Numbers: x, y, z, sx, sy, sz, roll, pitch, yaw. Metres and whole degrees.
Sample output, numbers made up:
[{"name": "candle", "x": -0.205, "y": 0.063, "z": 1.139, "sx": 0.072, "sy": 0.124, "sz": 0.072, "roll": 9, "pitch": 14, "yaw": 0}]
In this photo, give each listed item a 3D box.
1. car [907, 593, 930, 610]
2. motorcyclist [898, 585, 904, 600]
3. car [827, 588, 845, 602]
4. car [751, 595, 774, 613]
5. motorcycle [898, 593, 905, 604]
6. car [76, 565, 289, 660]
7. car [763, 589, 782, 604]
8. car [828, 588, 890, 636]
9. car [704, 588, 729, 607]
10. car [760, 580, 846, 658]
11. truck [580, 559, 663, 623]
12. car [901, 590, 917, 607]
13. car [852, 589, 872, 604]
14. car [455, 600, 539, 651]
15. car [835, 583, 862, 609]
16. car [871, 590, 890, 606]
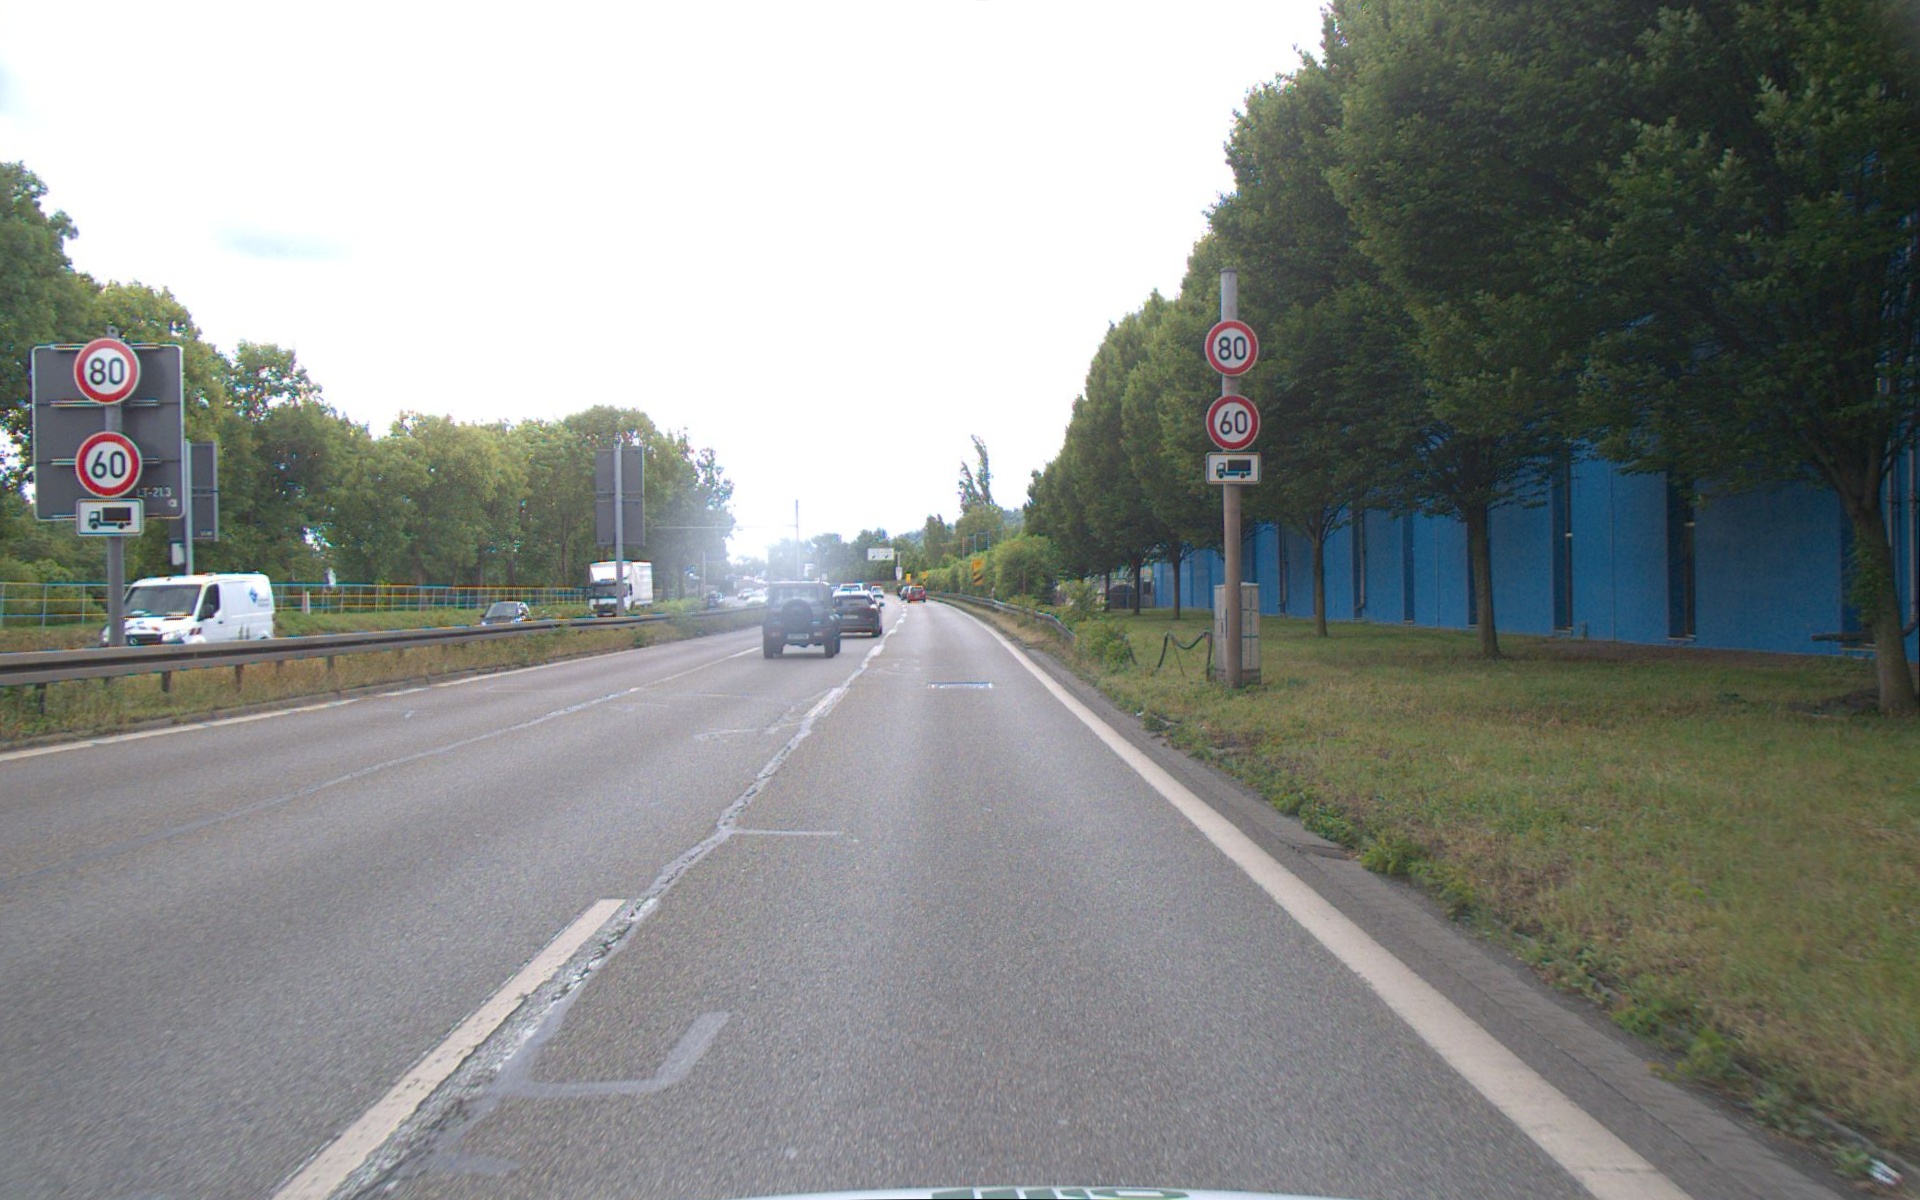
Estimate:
[{"name": "car", "x": -3.943, "y": 0.116, "z": 155.783, "sx": 1.935, "sy": 1.448, "sz": 4.896, "roll": -2, "pitch": 0, "yaw": -4}, {"name": "motorcyclist", "x": -7.199, "y": -0.888, "z": 202.320, "sx": 0.775, "sy": 1.791, "sz": 0.922, "roll": -1, "pitch": 0, "yaw": -3}, {"name": "car", "x": -18.212, "y": -0.689, "z": 243.445, "sx": 1.978, "sy": 1.968, "sz": 4.887, "roll": -2, "pitch": 0, "yaw": -11}, {"name": "car", "x": -19.244, "y": 0.381, "z": 161.062, "sx": 1.663, "sy": 1.633, "sz": 4.537, "roll": -3, "pitch": 0, "yaw": -1}, {"name": "motorcycle", "x": -7.198, "y": -0.186, "z": 202.323, "sx": 0.775, "sy": 1.240, "sz": 2.328, "roll": -1, "pitch": 1, "yaw": -3}, {"name": "car", "x": -17.758, "y": 0.255, "z": 38.158, "sx": 2.180, "sy": 1.982, "sz": 5.475, "roll": -1, "pitch": 0, "yaw": 1}, {"name": "car", "x": -22.937, "y": -0.475, "z": 202.419, "sx": 1.829, "sy": 1.704, "sz": 4.717, "roll": -2, "pitch": 0, "yaw": -2}, {"name": "car", "x": -3.190, "y": 0.362, "z": 52.921, "sx": 1.808, "sy": 1.448, "sz": 4.898, "roll": -1, "pitch": 0, "yaw": -2}, {"name": "car", "x": -22.660, "y": -0.271, "z": 153.880, "sx": 1.691, "sy": 1.633, "sz": 4.041, "roll": -3, "pitch": 0, "yaw": -1}, {"name": "car", "x": -3.597, "y": 0.395, "z": 38.442, "sx": 1.663, "sy": 1.715, "sz": 3.999, "roll": -1, "pitch": 1, "yaw": -1}, {"name": "truck", "x": -20.687, "y": -0.542, "z": 101.526, "sx": 2.829, "sy": 3.641, "sz": 9.588, "roll": -2, "pitch": 0, "yaw": 1}, {"name": "car", "x": -5.433, "y": -0.187, "z": 177.142, "sx": 1.663, "sy": 1.772, "sz": 4.391, "roll": -1, "pitch": 0, "yaw": -2}, {"name": "car", "x": -13.532, "y": -0.438, "z": 227.433, "sx": 1.979, "sy": 1.968, "sz": 4.884, "roll": -2, "pitch": 0, "yaw": -13}, {"name": "car", "x": -17.056, "y": 0.899, "z": 61.137, "sx": 1.840, "sy": 1.755, "sz": 4.147, "roll": -1, "pitch": 1, "yaw": 1}, {"name": "car", "x": -7.834, "y": -0.272, "z": 116.535, "sx": 1.663, "sy": 1.772, "sz": 3.999, "roll": -2, "pitch": 0, "yaw": -2}, {"name": "car", "x": -10.152, "y": -0.268, "z": 210.677, "sx": 1.976, "sy": 1.968, "sz": 4.892, "roll": -2, "pitch": 0, "yaw": -8}]
